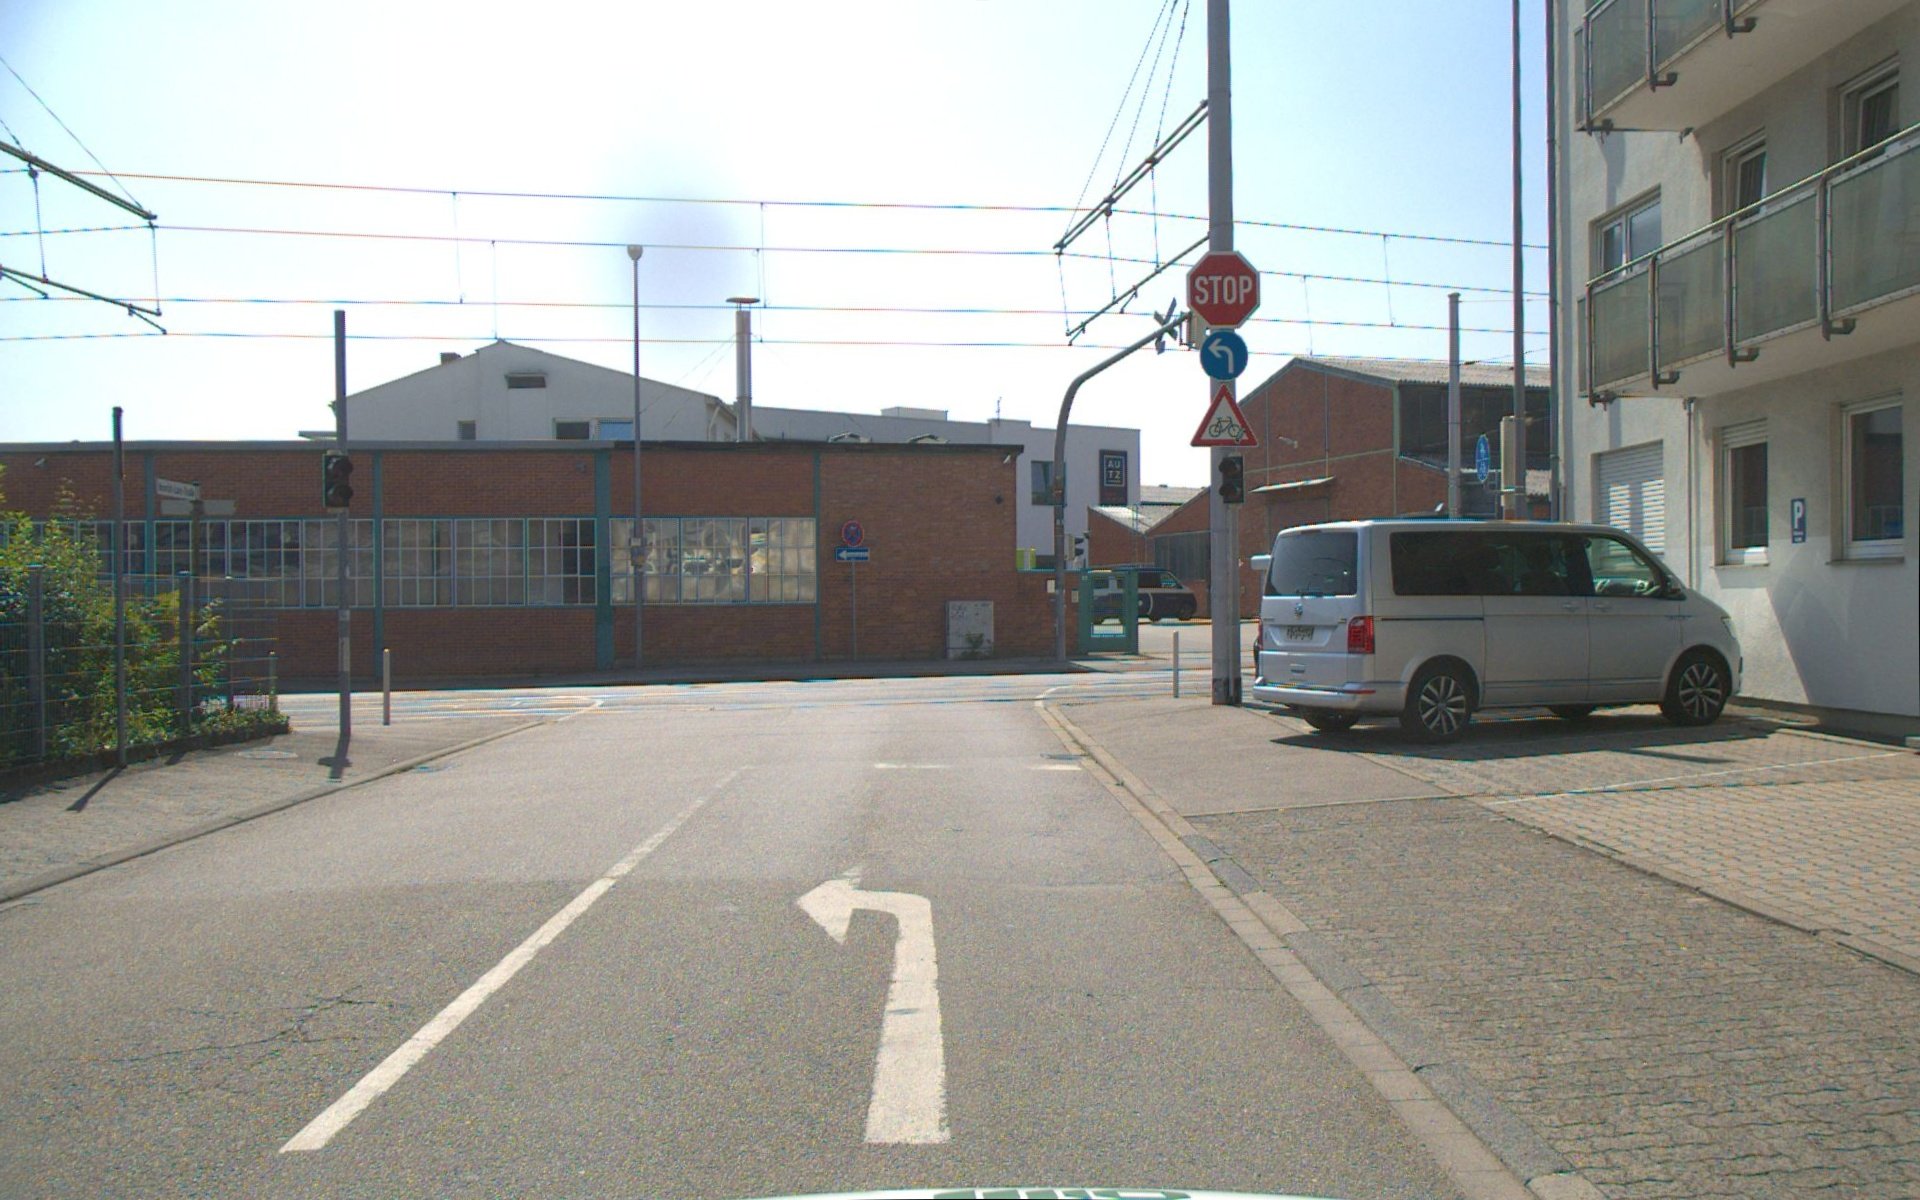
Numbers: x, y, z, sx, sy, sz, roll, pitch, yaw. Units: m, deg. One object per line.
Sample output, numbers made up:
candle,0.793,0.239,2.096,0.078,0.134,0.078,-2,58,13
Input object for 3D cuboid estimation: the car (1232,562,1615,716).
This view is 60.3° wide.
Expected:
car,5.212,0.385,18.582,3.913,1.547,1.864,-1,0,-27

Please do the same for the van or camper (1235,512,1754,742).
van or camper,5.068,0.191,15.728,4.477,1.941,1.987,-1,0,-22

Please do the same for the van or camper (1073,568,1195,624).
van or camper,6.459,-0.129,61.199,4.375,1.934,1.973,2,-1,-38
